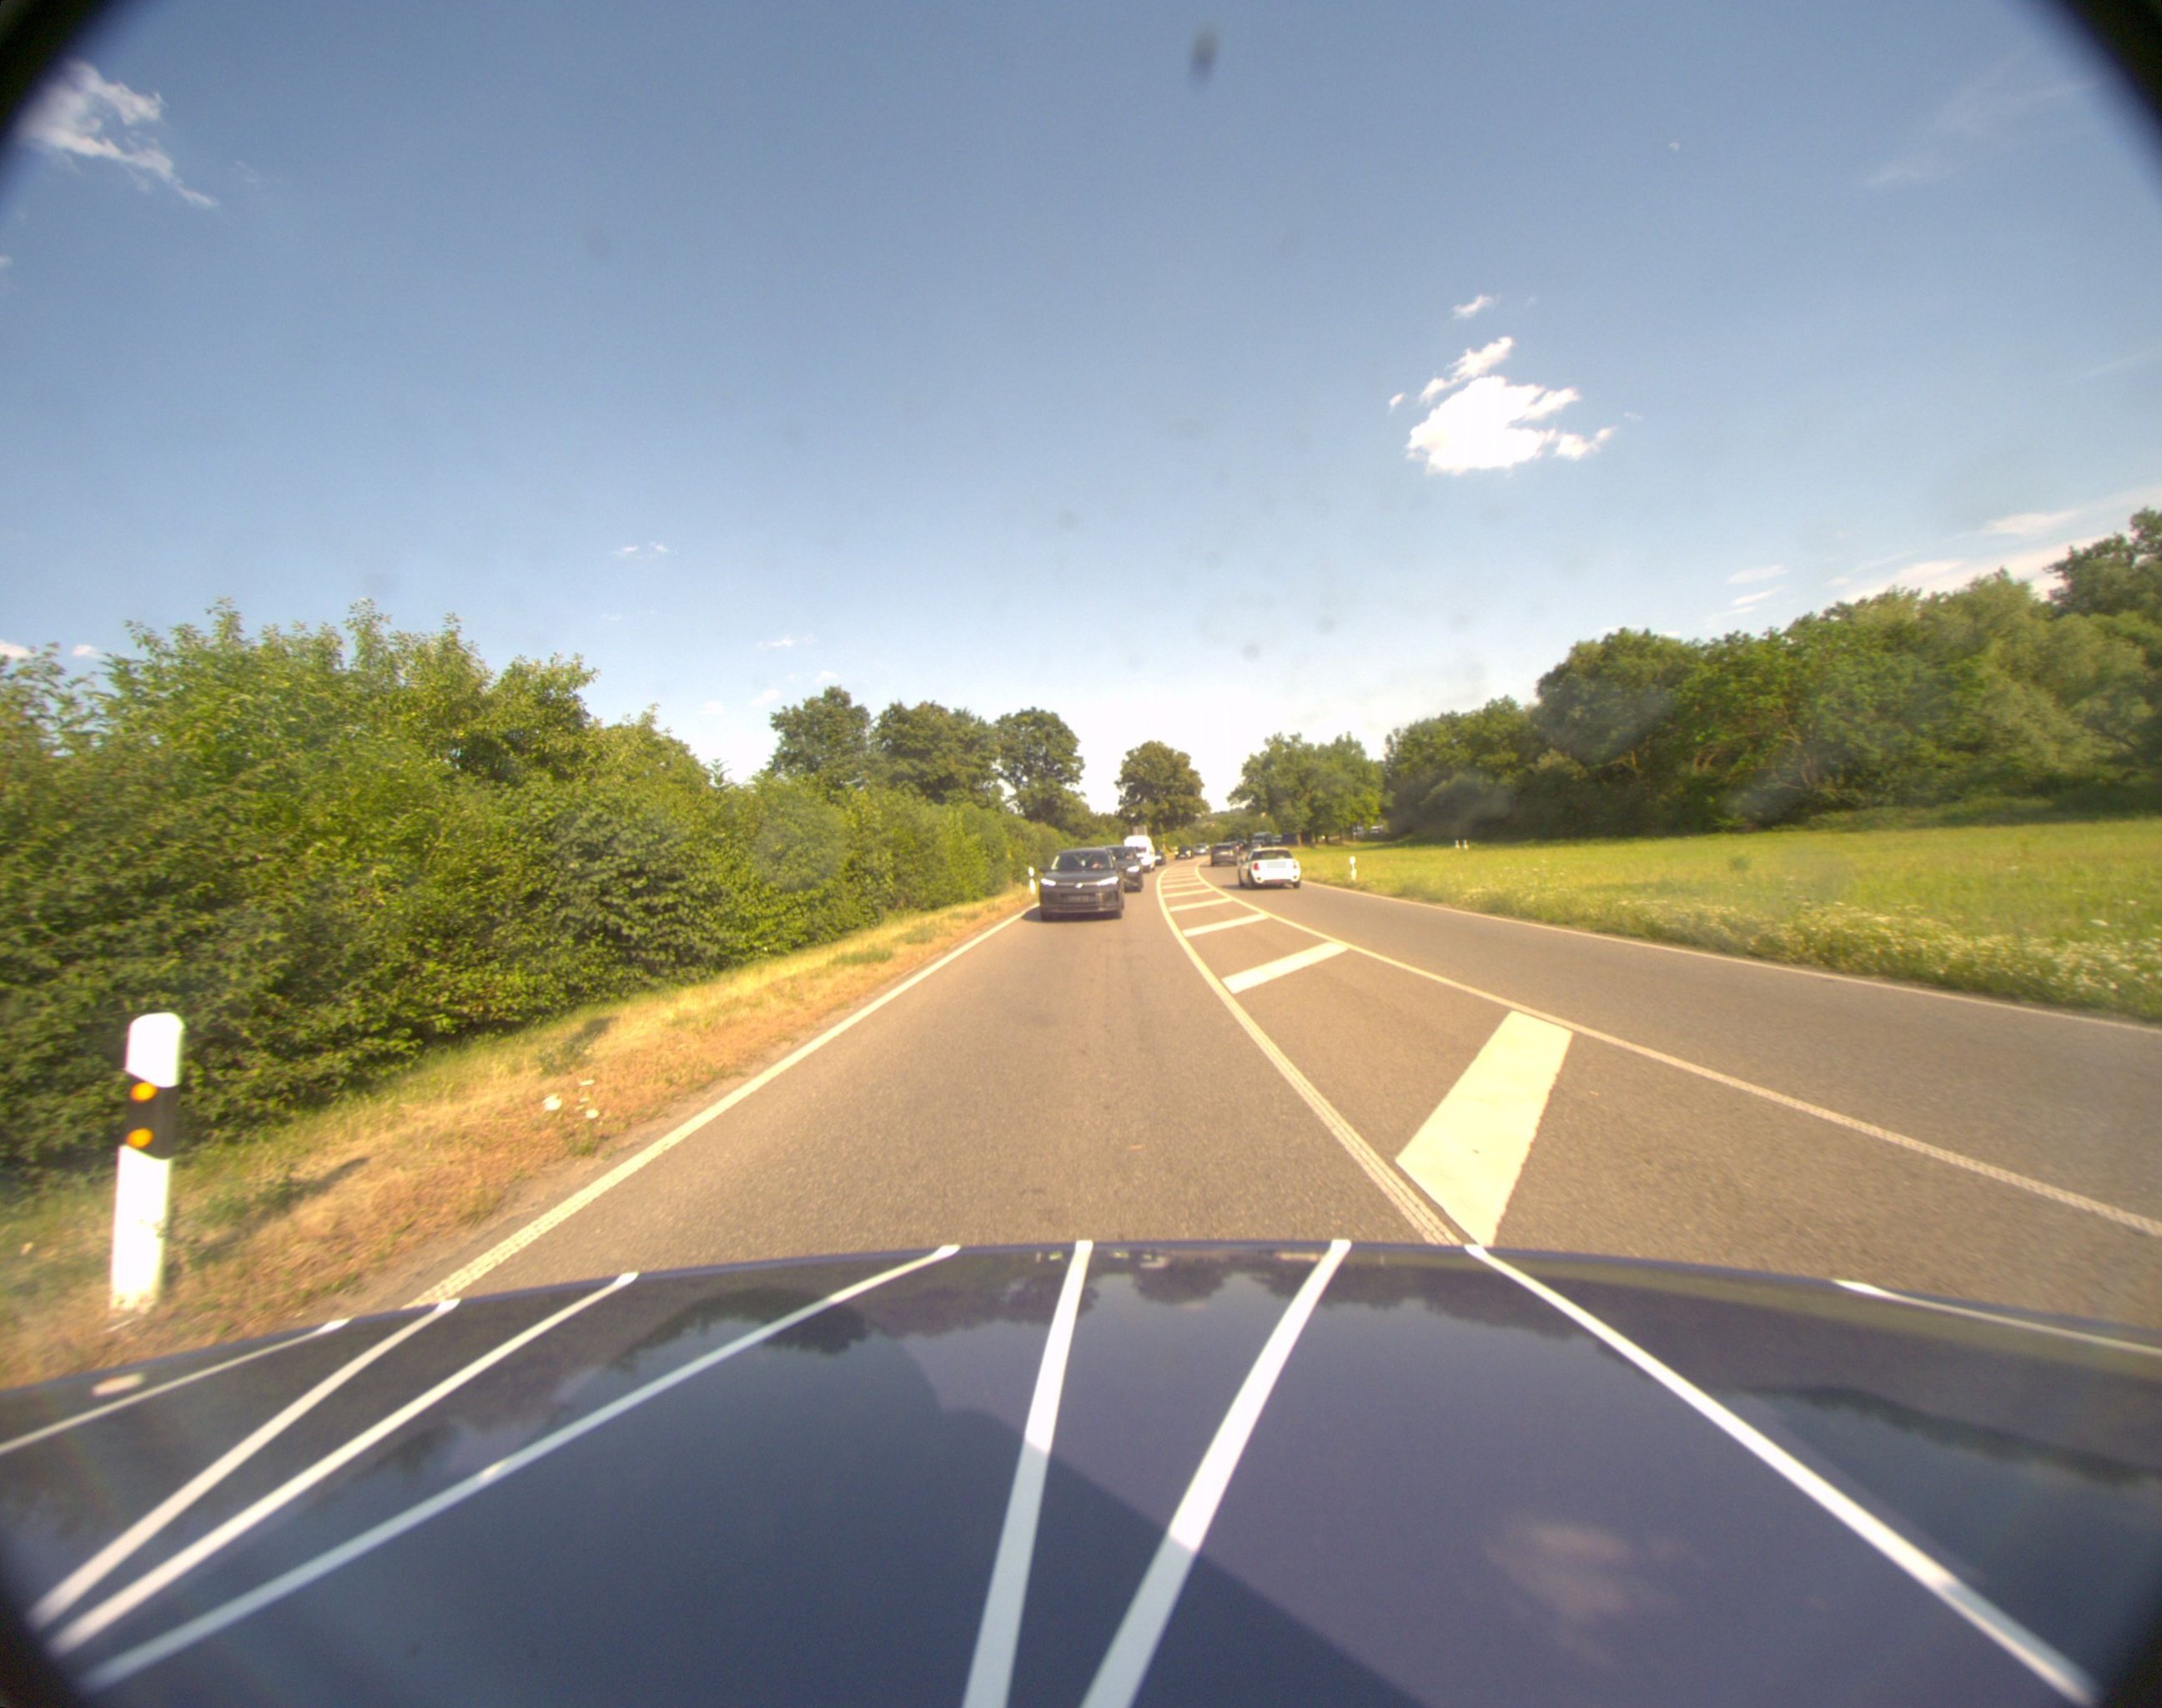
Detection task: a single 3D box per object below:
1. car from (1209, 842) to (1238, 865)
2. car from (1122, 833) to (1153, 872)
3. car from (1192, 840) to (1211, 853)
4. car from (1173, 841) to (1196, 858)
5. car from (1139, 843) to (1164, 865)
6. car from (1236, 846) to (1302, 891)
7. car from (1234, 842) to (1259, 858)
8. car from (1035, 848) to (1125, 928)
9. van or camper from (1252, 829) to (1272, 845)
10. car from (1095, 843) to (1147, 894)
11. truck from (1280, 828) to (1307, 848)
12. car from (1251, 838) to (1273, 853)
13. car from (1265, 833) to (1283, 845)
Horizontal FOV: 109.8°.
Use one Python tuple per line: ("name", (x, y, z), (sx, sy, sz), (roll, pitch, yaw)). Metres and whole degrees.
("car", (10.335, -0.053, 54.922), (1.930, 1.577, 4.077), (-2, 1, 12))
("car", (3.639, -0.110, 48.654), (1.844, 2.338, 4.790), (-2, 1, 5))
("car", (15.520, -0.939, 97.897), (1.632, 1.549, 3.422), (-1, 2, 22))
("car", (11.094, -0.522, 81.072), (1.671, 1.718, 3.673), (-2, 1, 20))
("car", (5.886, -0.026, 62.867), (1.692, 1.718, 3.670), (-2, 1, 10))
("car", (6.582, 0.464, 26.896), (1.750, 1.458, 3.480), (-2, 1, 6))
("car", (19.031, -0.476, 87.471), (1.996, 1.543, 4.005), (-5, 0, 23))
("car", (0.046, 0.704, 18.066), (1.865, 1.633, 4.001), (-2, 1, 2))
("van or camper", (31.692, -2.982, 132.786), (2.030, 2.461, 5.085), (-5, 0, 28))
("car", (1.570, 0.516, 28.576), (1.658, 1.720, 3.806), (-2, 0, 7))
("truck", (37.723, -2.860, 134.490), (2.919, 3.194, 6.692), (-5, 0, 29))
("car", (26.531, -1.244, 111.367), (1.995, 1.846, 4.006), (-5, 0, 28))
("car", (35.651, -2.812, 140.266), (1.995, 2.002, 4.006), (-5, 0, 31))
